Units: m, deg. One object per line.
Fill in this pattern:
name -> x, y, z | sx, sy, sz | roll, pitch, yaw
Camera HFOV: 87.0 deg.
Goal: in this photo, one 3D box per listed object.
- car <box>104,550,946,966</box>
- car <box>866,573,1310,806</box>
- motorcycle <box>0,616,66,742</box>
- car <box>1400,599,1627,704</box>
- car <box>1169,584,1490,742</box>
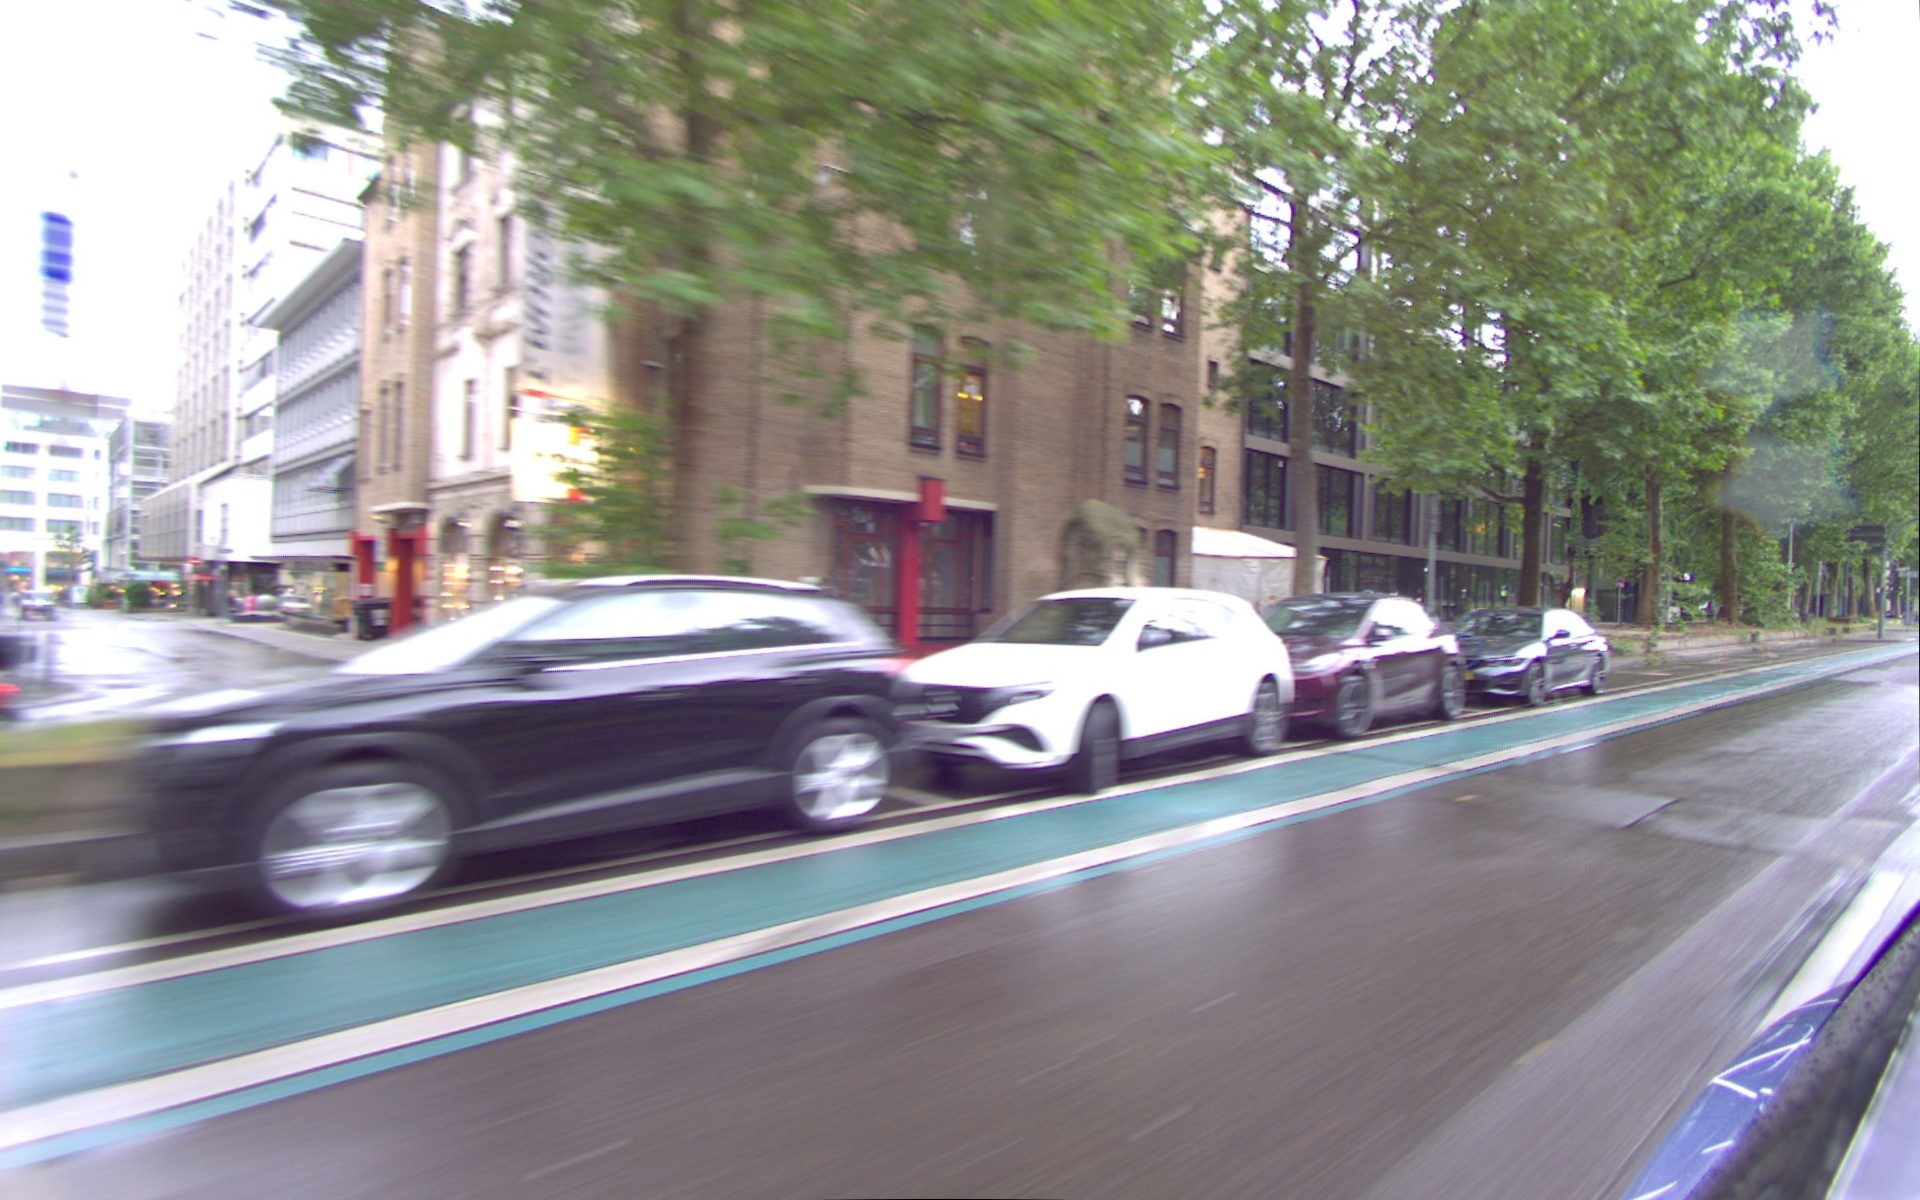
car -> -2.287, 0.619, 6.113 | 4.349, 1.623, 1.795 | 0, 0, -43
car -> 1.365, 0.618, 9.164 | 1.752, 1.605, 4.339 | 0, 0, 44
motorcycle -> -9.605, 0.746, 9.245 | 0.862, 1.157, 1.999 | 0, 0, 31
car -> 8.935, 0.706, 16.177 | 4.506, 1.451, 1.745 | 0, 0, -41
car -> 4.736, 0.640, 12.603 | 4.484, 1.609, 1.995 | 0, 0, -44
